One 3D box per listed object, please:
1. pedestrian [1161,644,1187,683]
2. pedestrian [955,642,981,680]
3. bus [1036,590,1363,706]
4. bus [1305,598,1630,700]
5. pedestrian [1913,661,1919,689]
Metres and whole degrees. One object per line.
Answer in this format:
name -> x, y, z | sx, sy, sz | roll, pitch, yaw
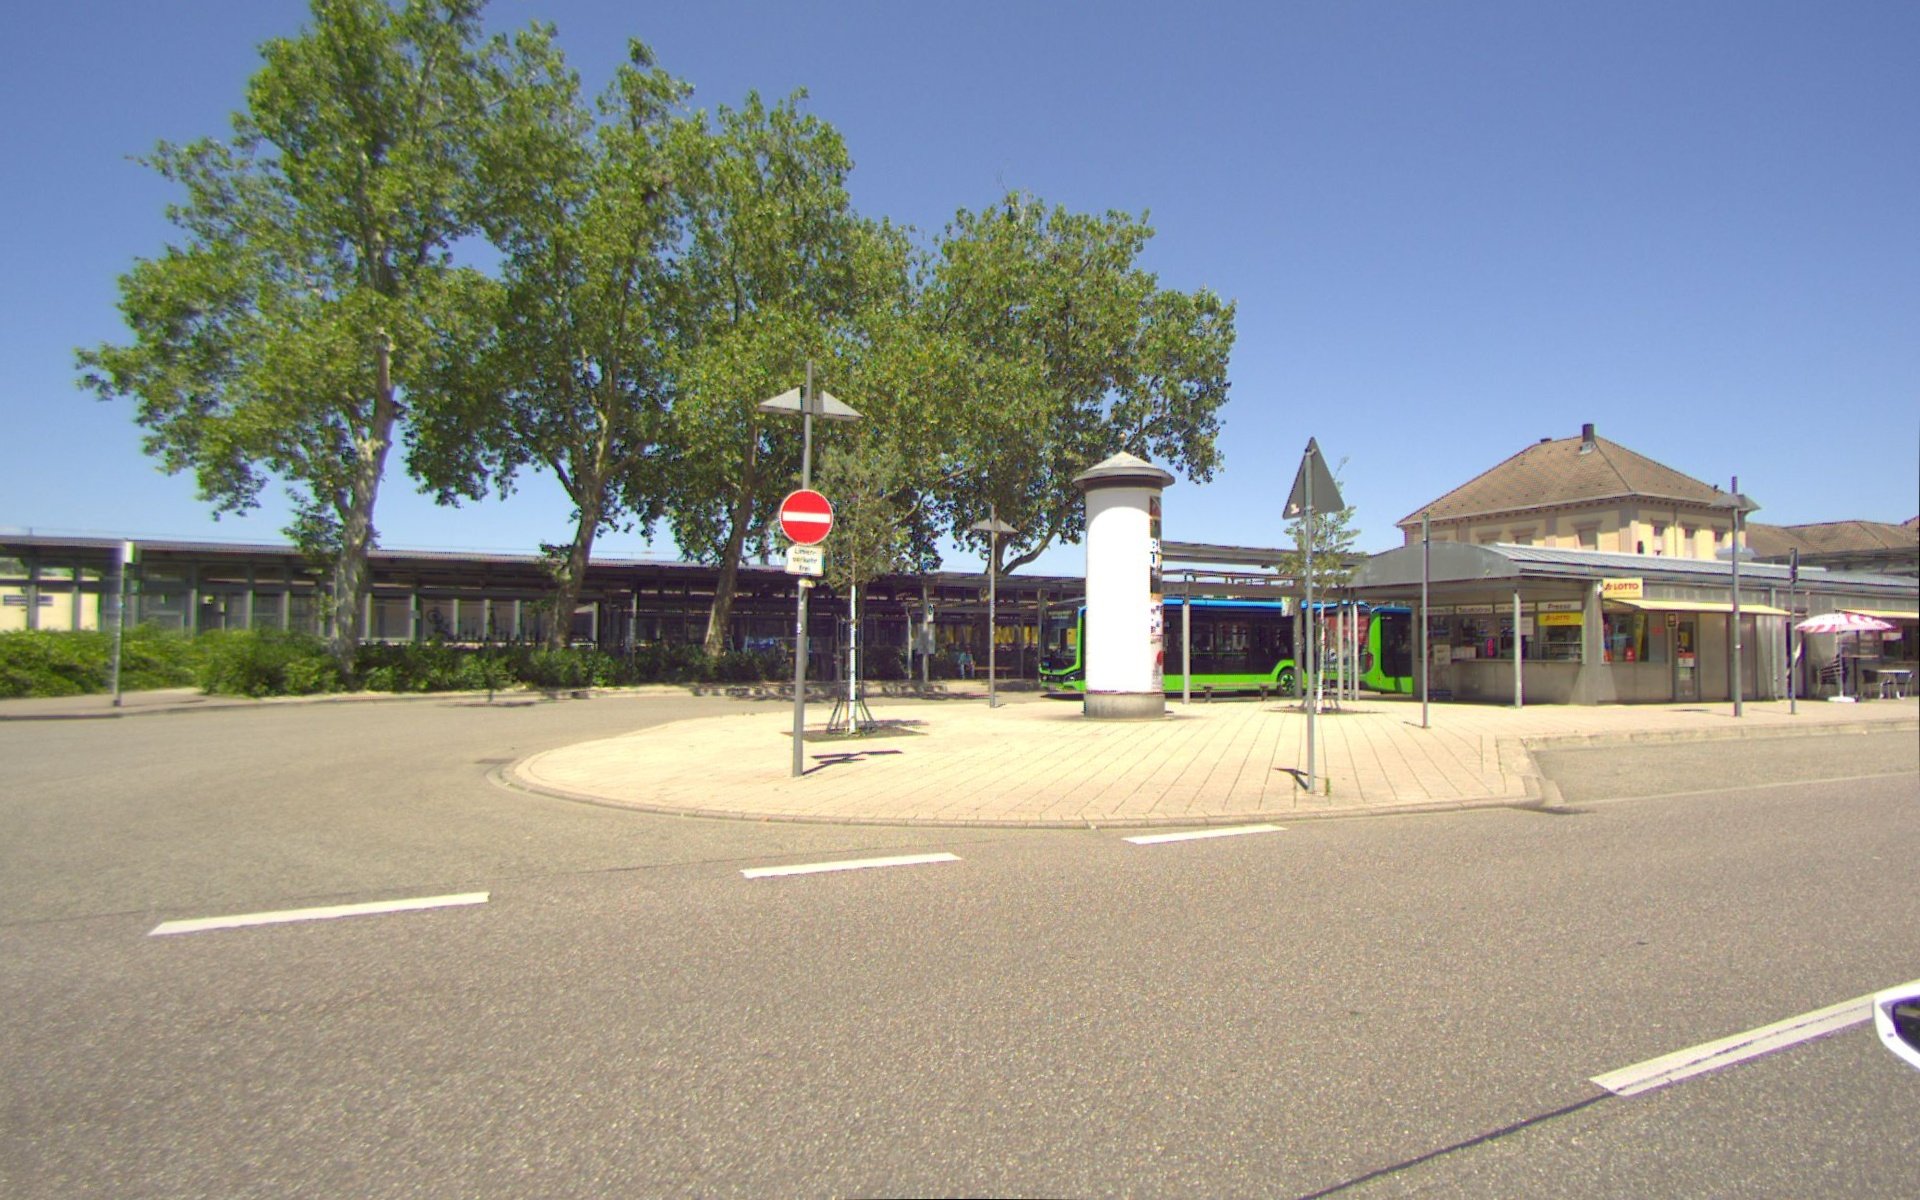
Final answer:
pedestrian -> 9.215, 2.725, 43.252 | 0.764, 1.638, 0.811 | 3, -4, -45
pedestrian -> 0.320, 2.373, 39.279 | 0.812, 1.483, 0.603 | 2, -3, -29
bus -> 8.439, 1.651, 34.392 | 12.051, 3.572, 2.157 | 2, -2, -24
bus -> 17.979, 1.782, 34.968 | 13.717, 3.080, 2.665 | 2, -3, -28
pedestrian -> 33.716, 2.619, 35.125 | 0.365, 0.985, 0.425 | 2, -3, -13
